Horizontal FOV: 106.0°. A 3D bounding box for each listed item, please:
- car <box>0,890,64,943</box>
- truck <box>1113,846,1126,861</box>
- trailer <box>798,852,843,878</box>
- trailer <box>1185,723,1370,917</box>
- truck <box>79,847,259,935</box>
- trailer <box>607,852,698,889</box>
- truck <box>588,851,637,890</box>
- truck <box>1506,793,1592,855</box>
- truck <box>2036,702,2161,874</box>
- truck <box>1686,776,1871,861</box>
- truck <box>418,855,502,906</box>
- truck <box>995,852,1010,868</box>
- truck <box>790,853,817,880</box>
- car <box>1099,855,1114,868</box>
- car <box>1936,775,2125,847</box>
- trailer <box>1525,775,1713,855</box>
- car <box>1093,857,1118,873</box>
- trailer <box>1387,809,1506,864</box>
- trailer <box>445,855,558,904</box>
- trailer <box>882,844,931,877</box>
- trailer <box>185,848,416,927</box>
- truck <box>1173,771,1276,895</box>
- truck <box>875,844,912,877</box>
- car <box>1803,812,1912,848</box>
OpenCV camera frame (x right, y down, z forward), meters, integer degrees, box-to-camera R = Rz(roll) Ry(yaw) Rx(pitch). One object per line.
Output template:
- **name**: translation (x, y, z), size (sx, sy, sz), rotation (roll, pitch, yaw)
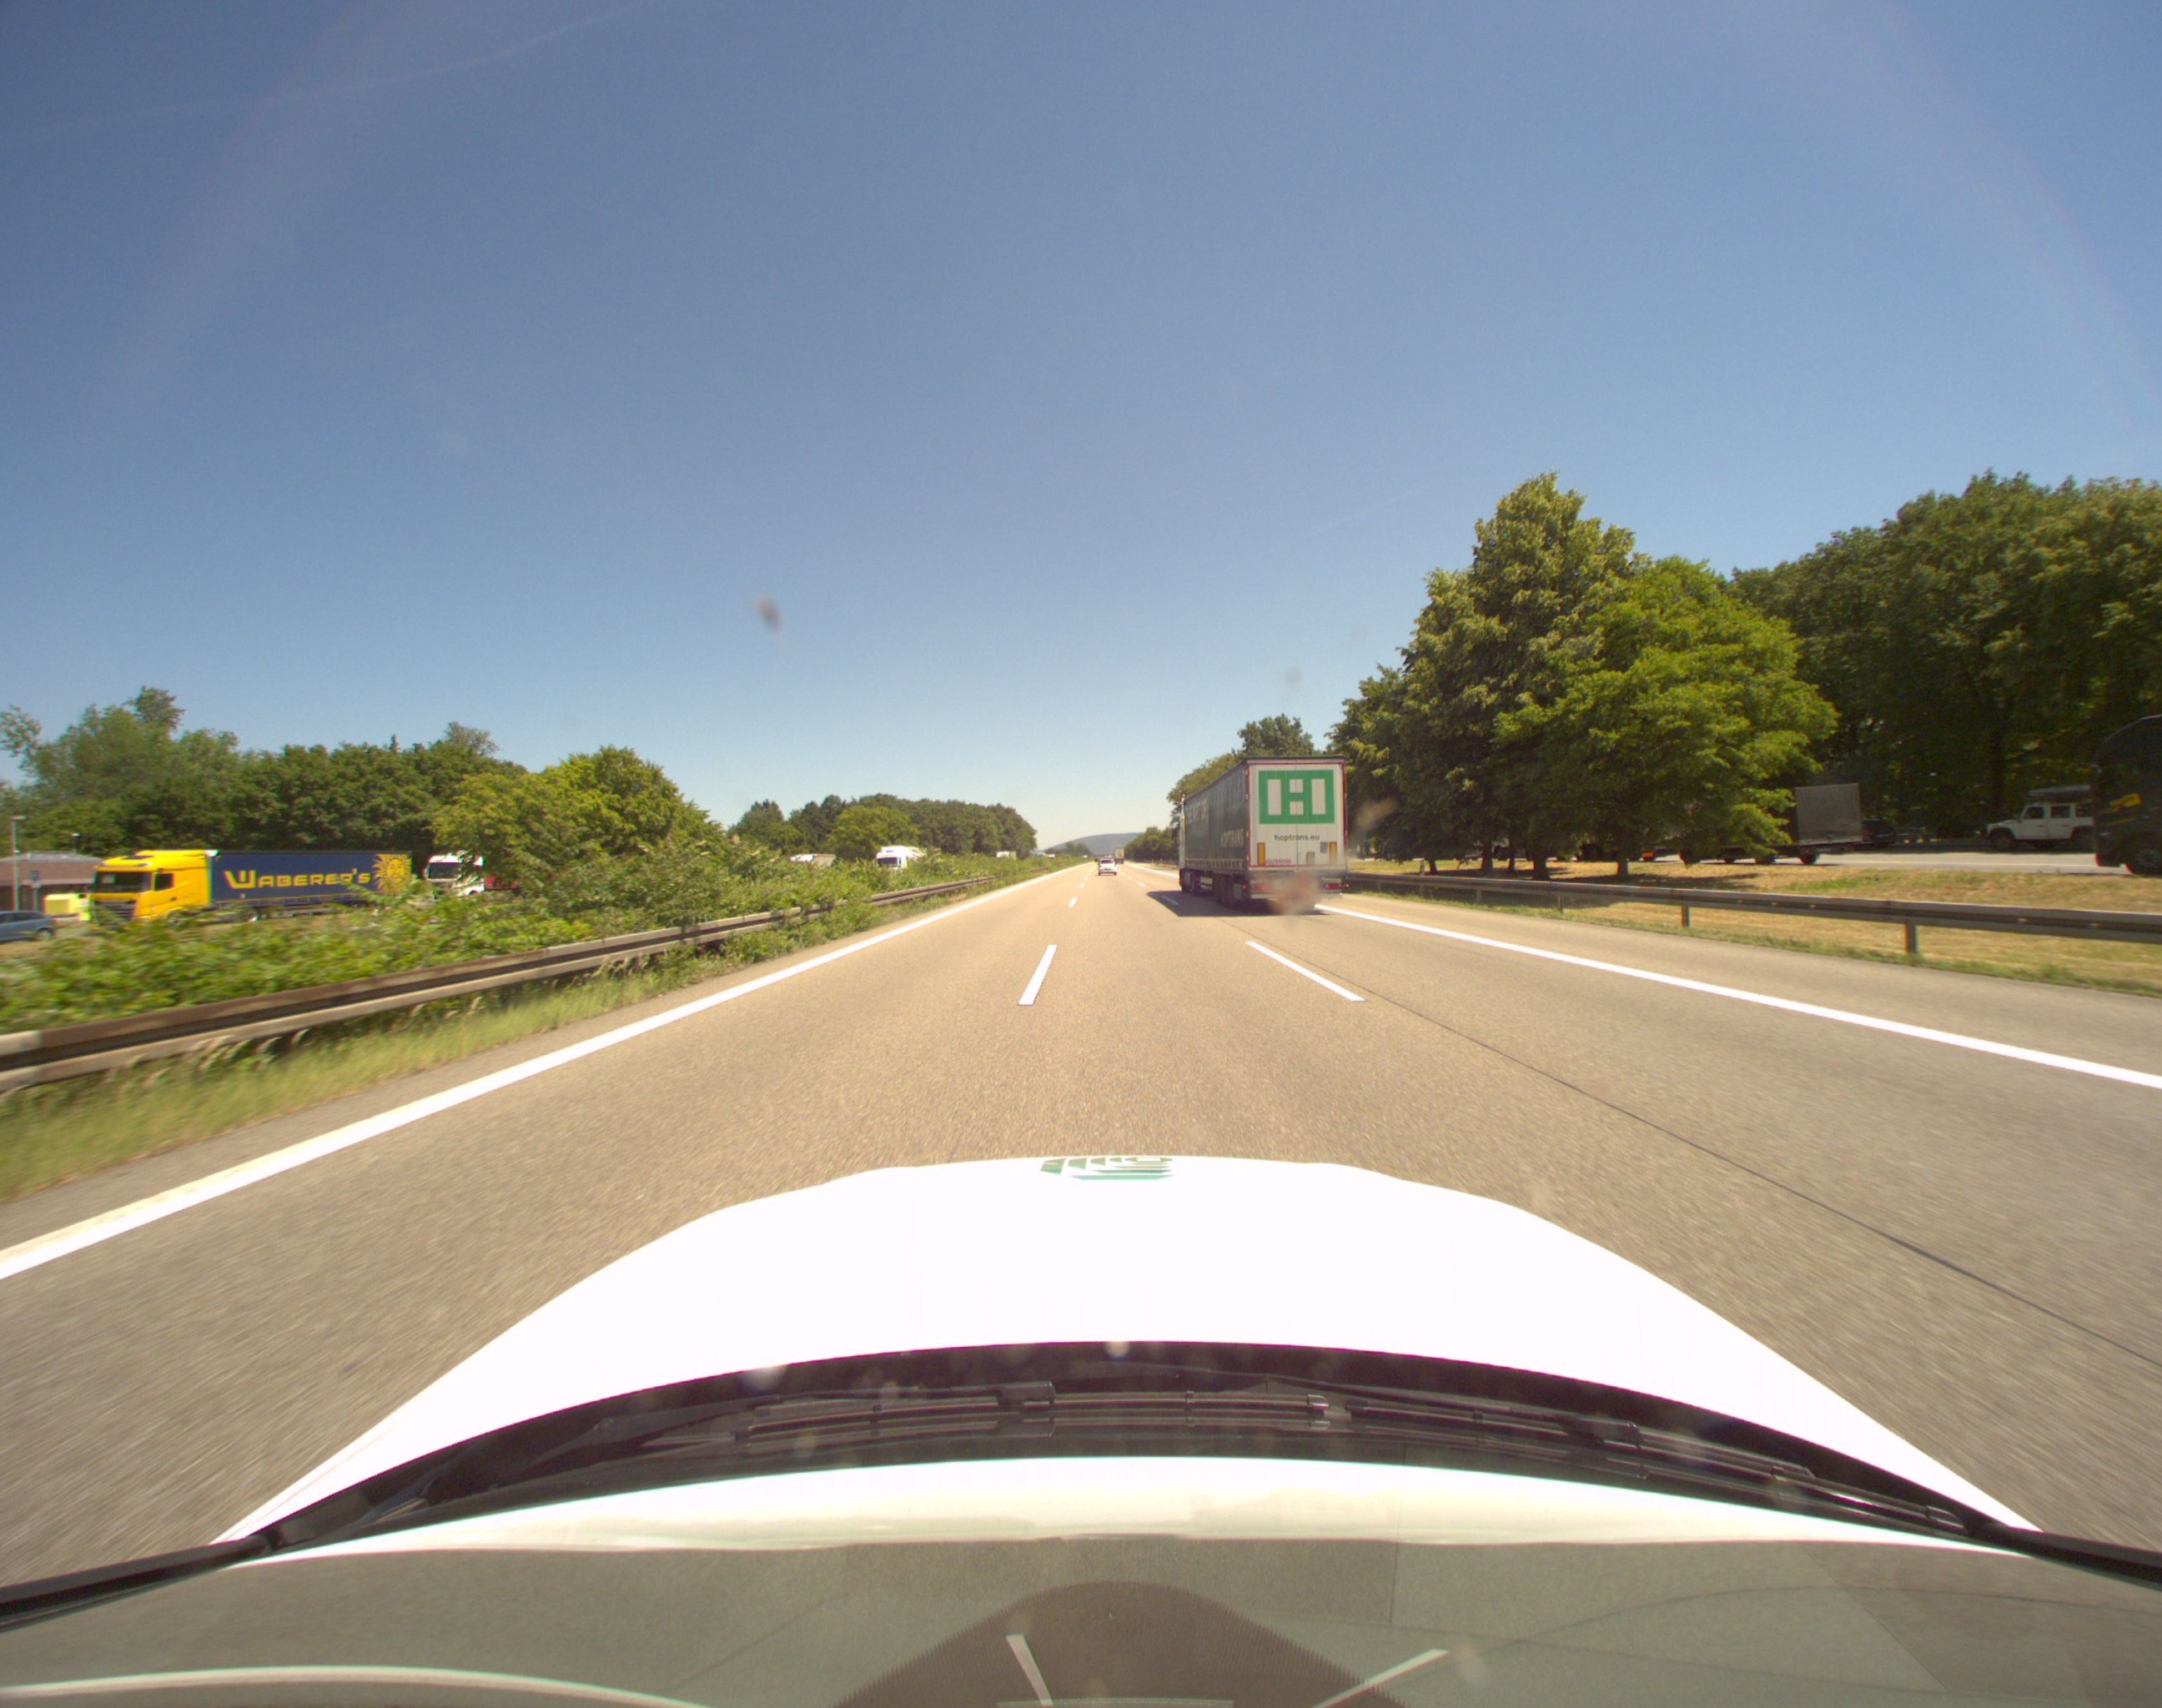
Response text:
- **car**: translation (-43.750, 2.553, 32.260), size (1.991, 2.013, 3.991), rotation (-2, 0, -6)
- **truck**: translation (10.079, -0.044, 213.788), size (3.313, 3.756, 12.799), rotation (-1, 0, 2)
- **trailer**: translation (-40.804, 1.651, 127.894), size (2.278, 3.870, 10.728), rotation (-2, 0, 7)
- **trailer**: translation (5.552, -0.809, 25.824), size (3.170, 4.627, 12.054), rotation (-2, 0, 2)
- **truck**: translation (-44.672, 1.694, 40.185), size (2.448, 3.924, 5.859), rotation (-2, 0, -5)
- **trailer**: translation (-46.450, 1.672, 89.020), size (1.985, 3.728, 13.604), rotation (-2, 0, 3)
- **truck**: translation (-46.834, 1.641, 81.527), size (1.985, 3.746, 4.458), rotation (-2, 0, 3)
- **truck**: translation (30.455, -1.844, 53.286), size (3.072, 3.790, 5.328), rotation (-1, 0, 8)
- **truck**: translation (26.198, -1.551, 17.876), size (3.165, 3.935, 6.633), rotation (-2, 0, 9)
- **truck**: translation (28.249, -1.298, 33.436), size (2.455, 3.086, 6.629), rotation (-1, 0, 7)
- **truck**: translation (-46.160, 1.903, 60.708), size (2.448, 3.615, 4.996), rotation (-1, 0, -2)
- **truck**: translation (-16.016, 1.238, 166.852), size (2.564, 3.144, 4.264), rotation (-2, 0, 1)
- **truck**: translation (-41.595, 1.880, 122.066), size (2.242, 3.870, 3.810), rotation (-3, 0, 7)
- **car**: translation (3.869, 1.118, 122.904), size (1.889, 1.892, 4.004), rotation (-3, 0, 4)
- **car**: translation (36.524, -1.576, 31.572), size (1.983, 2.439, 4.788), rotation (-3, 0, 6)
- **trailer**: translation (29.567, -1.873, 45.943), size (3.086, 3.790, 13.388), rotation (-1, 0, 7)
- **car**: translation (2.243, 1.002, 75.356), size (1.809, 1.405, 3.311), rotation (-2, 0, -6)
- **trailer**: translation (29.734, -1.263, 67.327), size (3.126, 3.952, 14.190), rotation (-3, 0, -1)
- **trailer**: translation (-46.290, 1.944, 65.545), size (2.448, 3.615, 9.608), rotation (-1, 0, -2)
- **trailer**: translation (-17.759, 0.644, 83.618), size (2.363, 3.090, 10.652), rotation (-1, 0, 2)
- **trailer**: translation (-45.325, 1.750, 48.221), size (2.448, 3.953, 12.467), rotation (-2, 0, -5)
- **truck**: translation (5.746, -0.772, 33.679), size (3.171, 4.607, 5.948), rotation (-2, 0, 1)
- **truck**: translation (-17.922, 0.626, 77.924), size (2.338, 3.079, 4.398), rotation (-1, 0, 1)
- **car**: translation (38.005, -1.127, 40.020), size (1.832, 1.546, 4.009), rotation (-3, 0, 8)
